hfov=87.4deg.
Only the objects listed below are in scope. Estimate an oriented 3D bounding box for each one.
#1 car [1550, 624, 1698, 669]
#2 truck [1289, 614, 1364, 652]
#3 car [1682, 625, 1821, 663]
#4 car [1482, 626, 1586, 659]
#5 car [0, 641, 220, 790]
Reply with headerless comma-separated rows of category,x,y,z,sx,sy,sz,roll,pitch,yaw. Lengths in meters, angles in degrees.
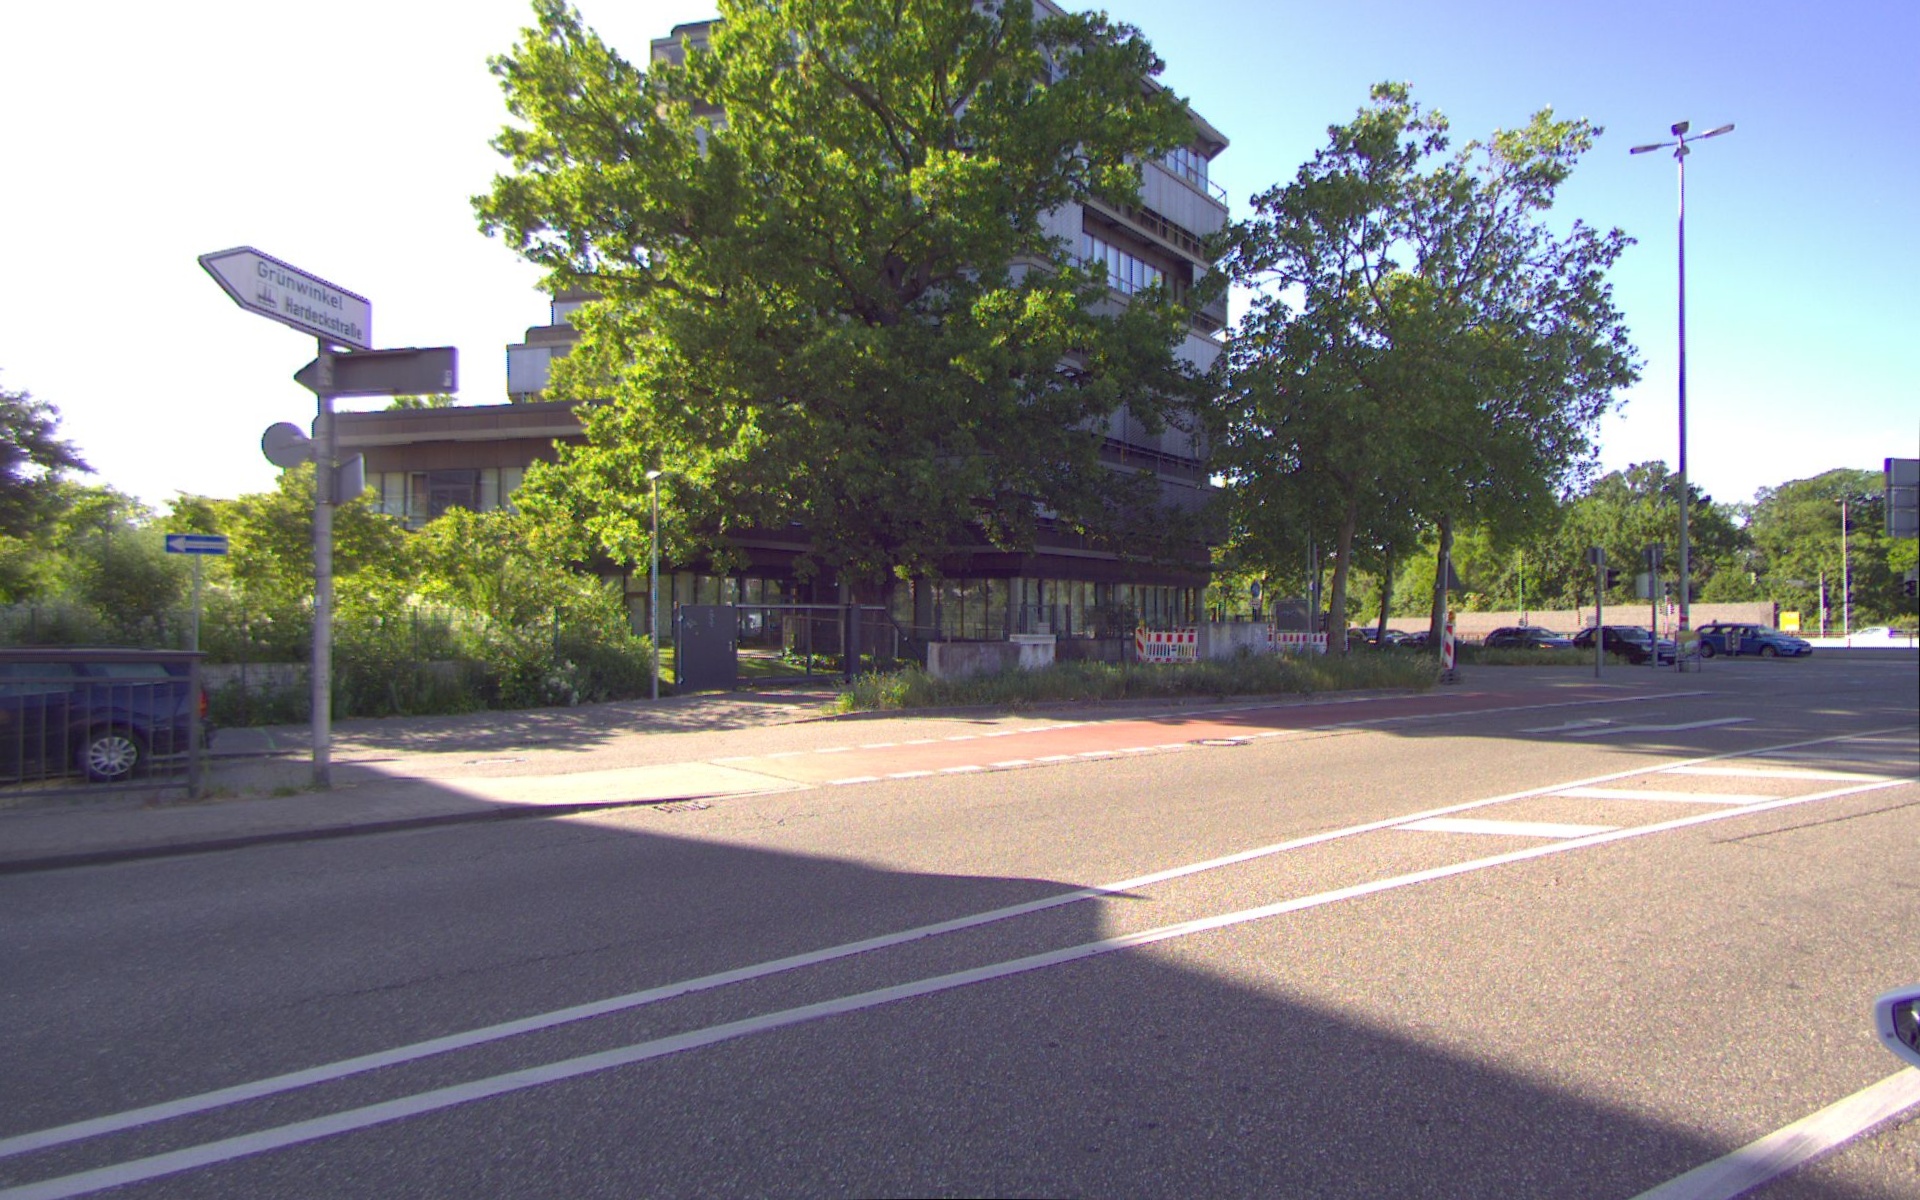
car,25.568,1.743,38.895,1.918,1.643,4.773,0,-1,-13
truck,24.173,2.154,66.680,2.121,2.391,7.515,0,-1,-1
car,34.079,1.862,43.434,1.920,1.561,4.443,0,-1,-16
car,25.765,1.864,45.286,1.844,1.376,4.507,0,-1,-5
car,-10.928,1.302,11.157,4.339,1.528,1.642,0,-3,-38
